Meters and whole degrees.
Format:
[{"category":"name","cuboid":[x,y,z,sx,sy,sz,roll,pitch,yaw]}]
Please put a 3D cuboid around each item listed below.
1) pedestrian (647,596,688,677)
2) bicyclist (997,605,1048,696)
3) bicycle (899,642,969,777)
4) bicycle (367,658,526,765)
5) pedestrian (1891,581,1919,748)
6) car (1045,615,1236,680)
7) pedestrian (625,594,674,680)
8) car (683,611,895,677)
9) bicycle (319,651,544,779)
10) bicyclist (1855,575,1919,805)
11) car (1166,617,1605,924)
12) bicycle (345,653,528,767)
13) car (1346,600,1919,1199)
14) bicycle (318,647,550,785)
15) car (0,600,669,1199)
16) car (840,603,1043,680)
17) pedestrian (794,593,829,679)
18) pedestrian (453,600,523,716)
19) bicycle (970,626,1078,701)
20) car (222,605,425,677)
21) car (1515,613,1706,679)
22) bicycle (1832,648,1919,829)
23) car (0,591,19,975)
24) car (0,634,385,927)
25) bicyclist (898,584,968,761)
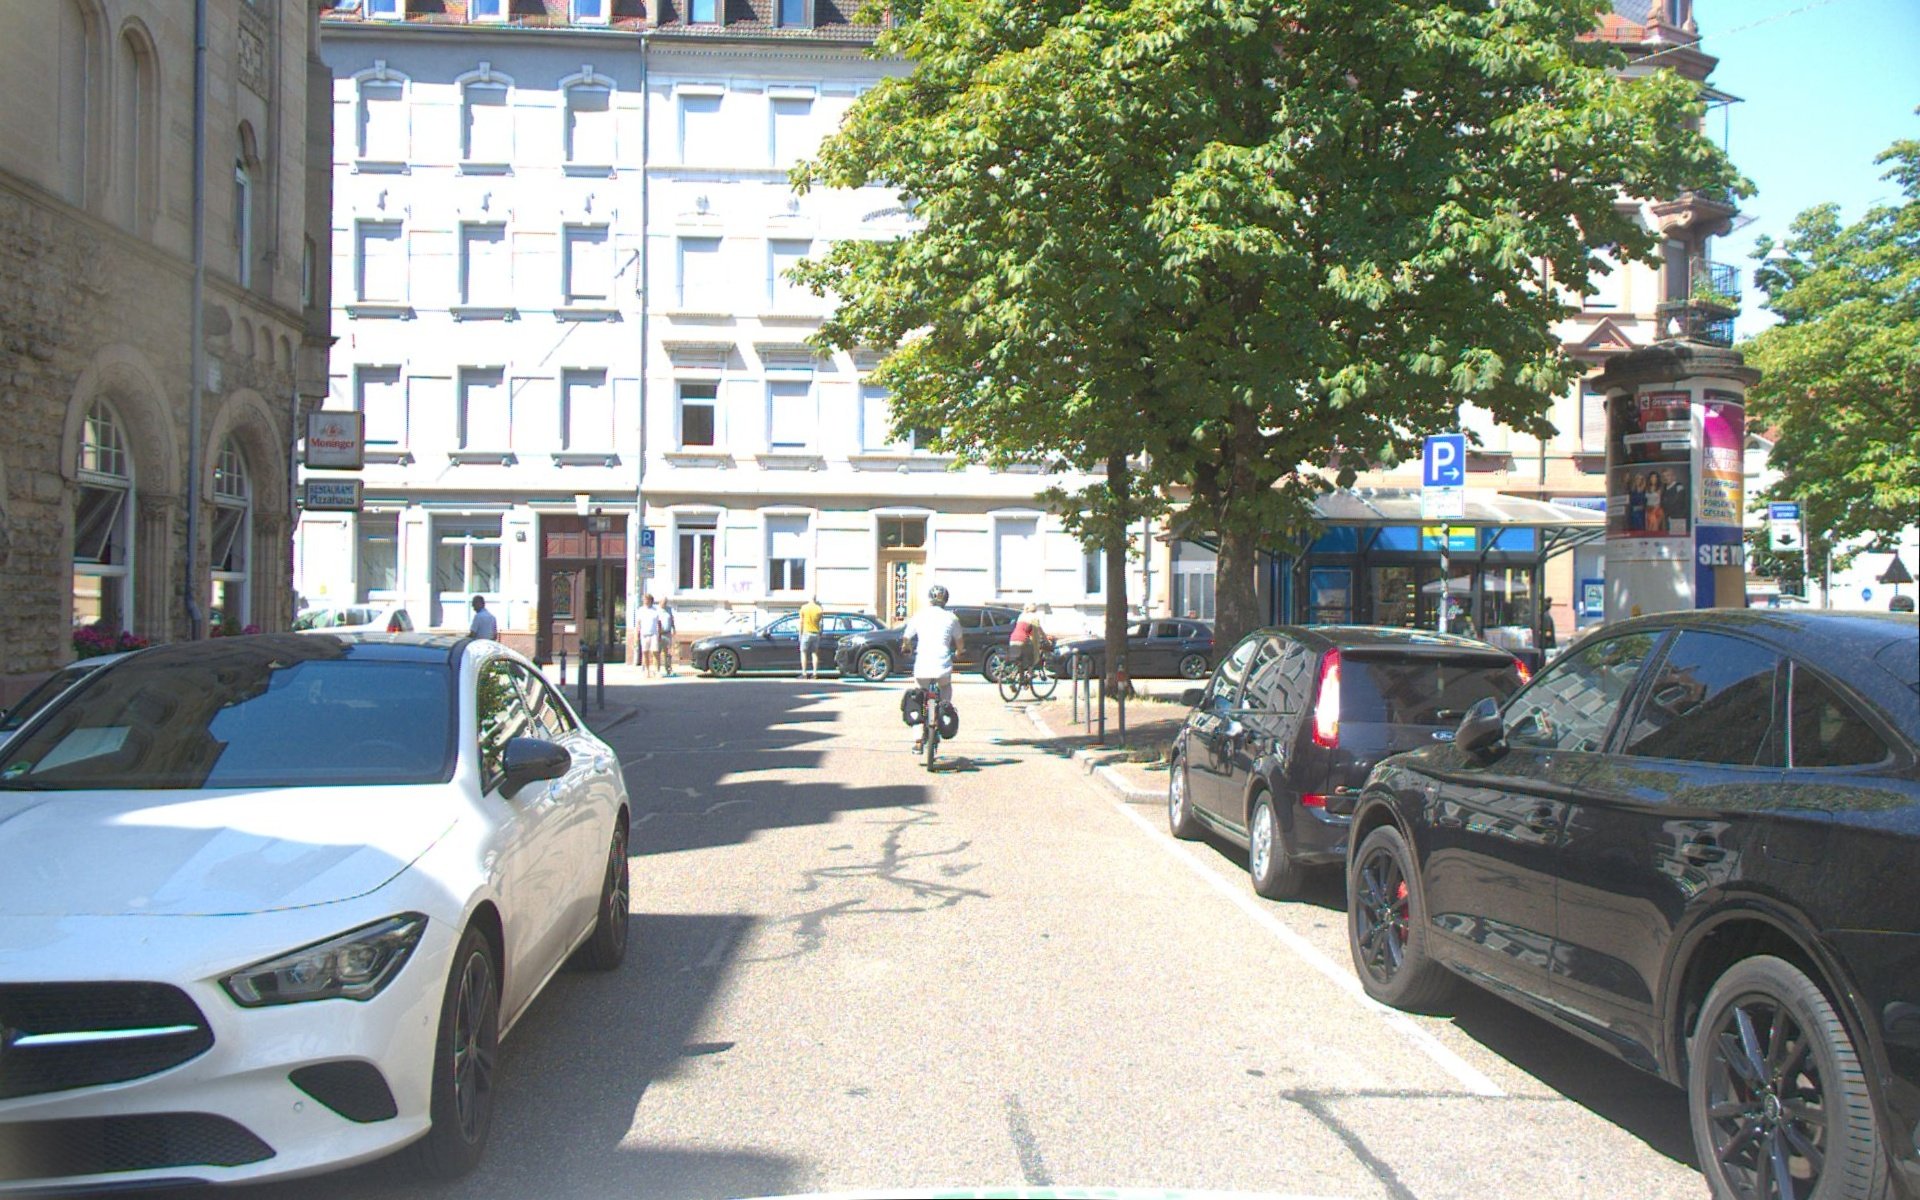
[{"category":"pedestrian","cuboid":[-6.786,0.847,38.381,0.884,1.846,0.959,0,-1,-8]},{"category":"bicyclist","cuboid":[1.087,0.864,28.654,0.659,1.560,0.607,-1,-1,36]},{"category":"bicycle","cuboid":[-0.288,1.092,17.190,0.638,1.250,2.440,2,-1,-2]},{"category":"bicycle","cuboid":[-5.327,1.157,17.202,1.496,1.025,0.366,3,-1,-7]},{"category":"pedestrian","cuboid":[10.754,0.705,18.296,0.743,1.825,0.574,1,-1,-41]},{"category":"car","cuboid":[4.177,1.081,38.641,4.208,1.394,1.806,0,2,-3]},{"category":"pedestrian","cuboid":[-7.030,0.828,37.434,0.832,1.922,0.936,0,-1,8]},{"category":"car","cuboid":[-3.881,1.006,38.224,4.762,1.462,1.999,0,-1,-3]},{"category":"bicycle","cuboid":[-5.021,1.093,15.793,1.957,1.149,0.435,2,-1,-7]},{"category":"bicyclist","cuboid":[7.115,0.660,12.389,0.664,1.676,0.661,-1,-1,26]},{"category":"car","cuboid":[2.540,0.935,10.919,1.630,1.567,4.175,2,-1,-2]},{"category":"bicycle","cuboid":[-5.293,1.110,16.789,1.672,1.063,0.413,3,-1,-7]},{"category":"car","cuboid":[2.803,0.863,5.420,1.702,1.625,4.343,2,-1,-5]},{"category":"bicycle","cuboid":[-4.862,1.070,15.357,1.934,1.149,0.394,4,-1,-7]},{"category":"car","cuboid":[-2.197,0.798,5.603,1.805,1.486,4.359,-2,-1,-3]},{"category":"car","cuboid":[-0.404,0.853,34.648,4.139,1.546,1.806,0,-1,-3]},{"category":"pedestrian","cuboid":[-3.326,0.799,36.941,0.712,1.886,0.683,0,-1,-12]},{"category":"pedestrian","cuboid":[-7.048,0.854,24.705,0.840,1.701,0.774,0,-1,-2]},{"category":"bicycle","cuboid":[1.135,1.100,28.712,0.640,1.230,2.432,1,-1,35]},{"category":"car","cuboid":[-14.492,0.930,37.841,3.967,1.589,1.805,0,-1,-4]},{"category":"car","cuboid":[15.576,1.090,39.714,3.908,1.532,1.777,0,-1,-4]},{"category":"bicycle","cuboid":[7.137,0.981,12.477,0.778,1.189,2.577,-1,-1,23]},{"category":"car","cuboid":[-4.732,0.768,5.022,1.639,1.610,4.049,-2,-1,-4]},{"category":"car","cuboid":[-5.058,0.948,10.337,1.668,1.376,4.510,-2,-1,-5]},{"category":"bicyclist","cuboid":[-0.282,0.743,17.233,0.657,1.791,0.609,2,-1,-2]}]
